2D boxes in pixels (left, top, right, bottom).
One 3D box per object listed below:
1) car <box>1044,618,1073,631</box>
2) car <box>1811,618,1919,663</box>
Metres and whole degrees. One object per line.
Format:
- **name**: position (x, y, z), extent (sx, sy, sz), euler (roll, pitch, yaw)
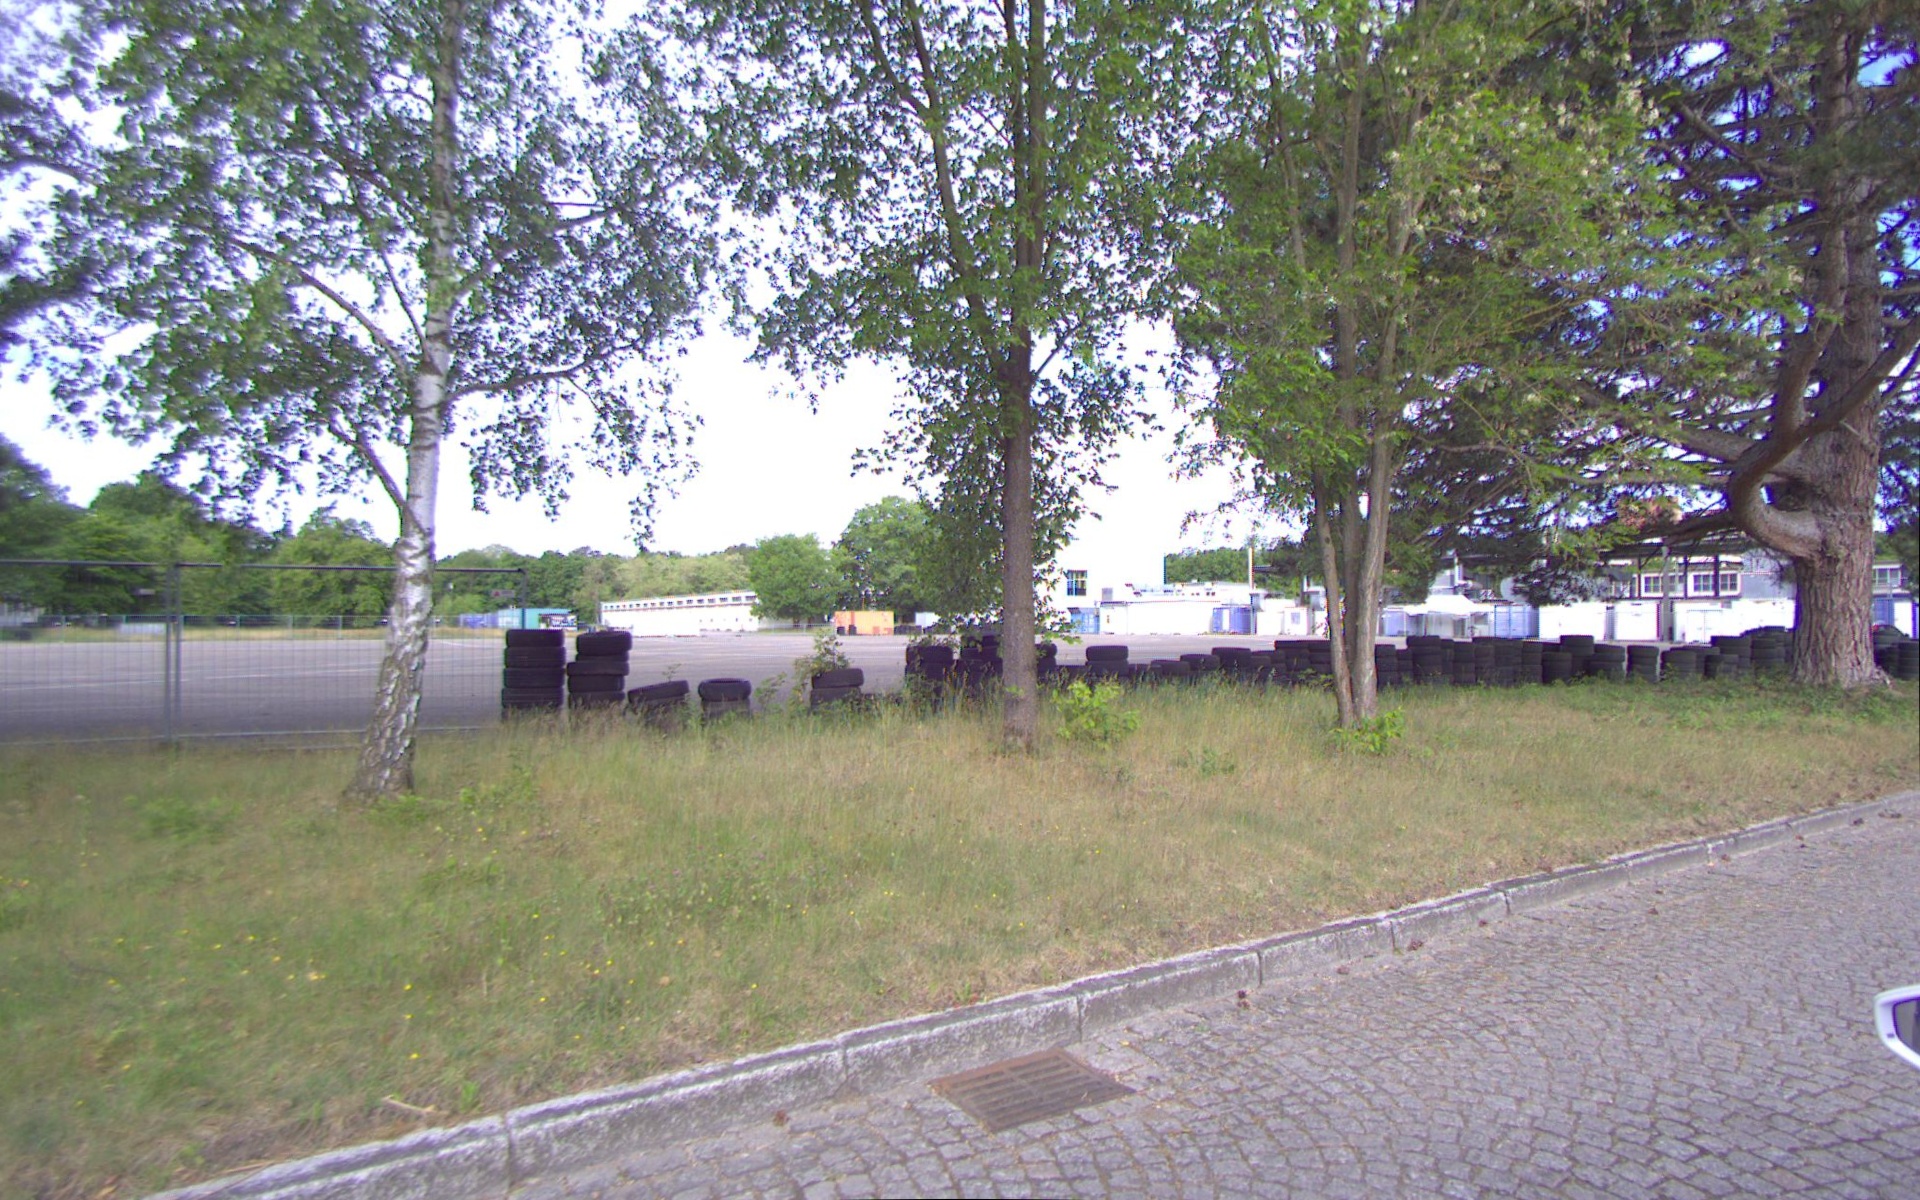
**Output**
- **car**: position (12.637, 3.159, 129.115), extent (1.809, 1.655, 4.086), euler (0, -1, -30)
- **car**: position (31.731, 1.370, 35.067), extent (4.010, 1.452, 1.620), euler (0, -1, -26)
